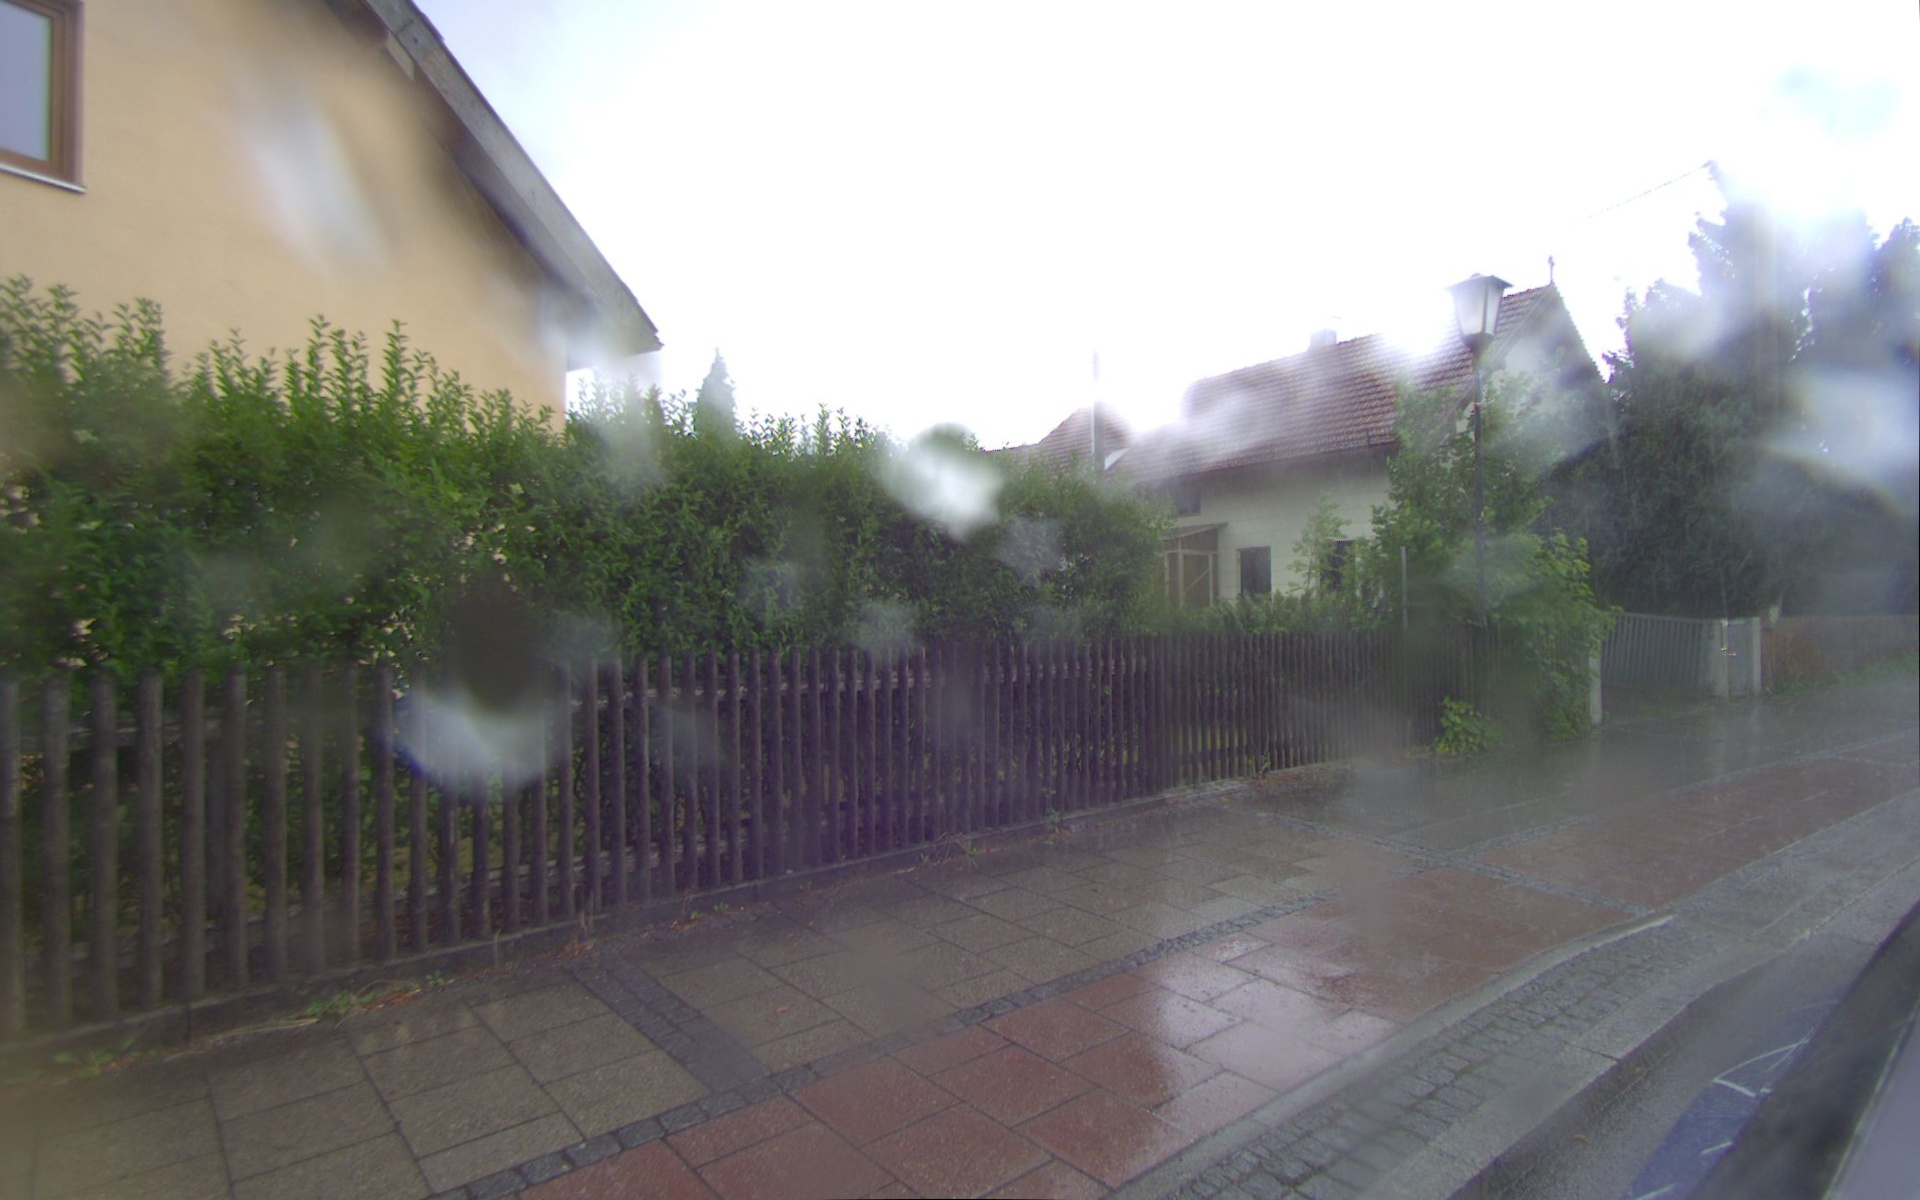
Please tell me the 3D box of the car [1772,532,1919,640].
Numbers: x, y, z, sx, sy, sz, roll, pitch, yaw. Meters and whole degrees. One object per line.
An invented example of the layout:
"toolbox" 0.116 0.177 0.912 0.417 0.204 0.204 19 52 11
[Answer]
"car" 24.946 -0.377 26.642 1.966 2.761 5.311 -1 2 -42

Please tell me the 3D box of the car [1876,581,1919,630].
"car" 30.462 0.211 30.182 1.798 1.438 4.438 -1 3 -41
